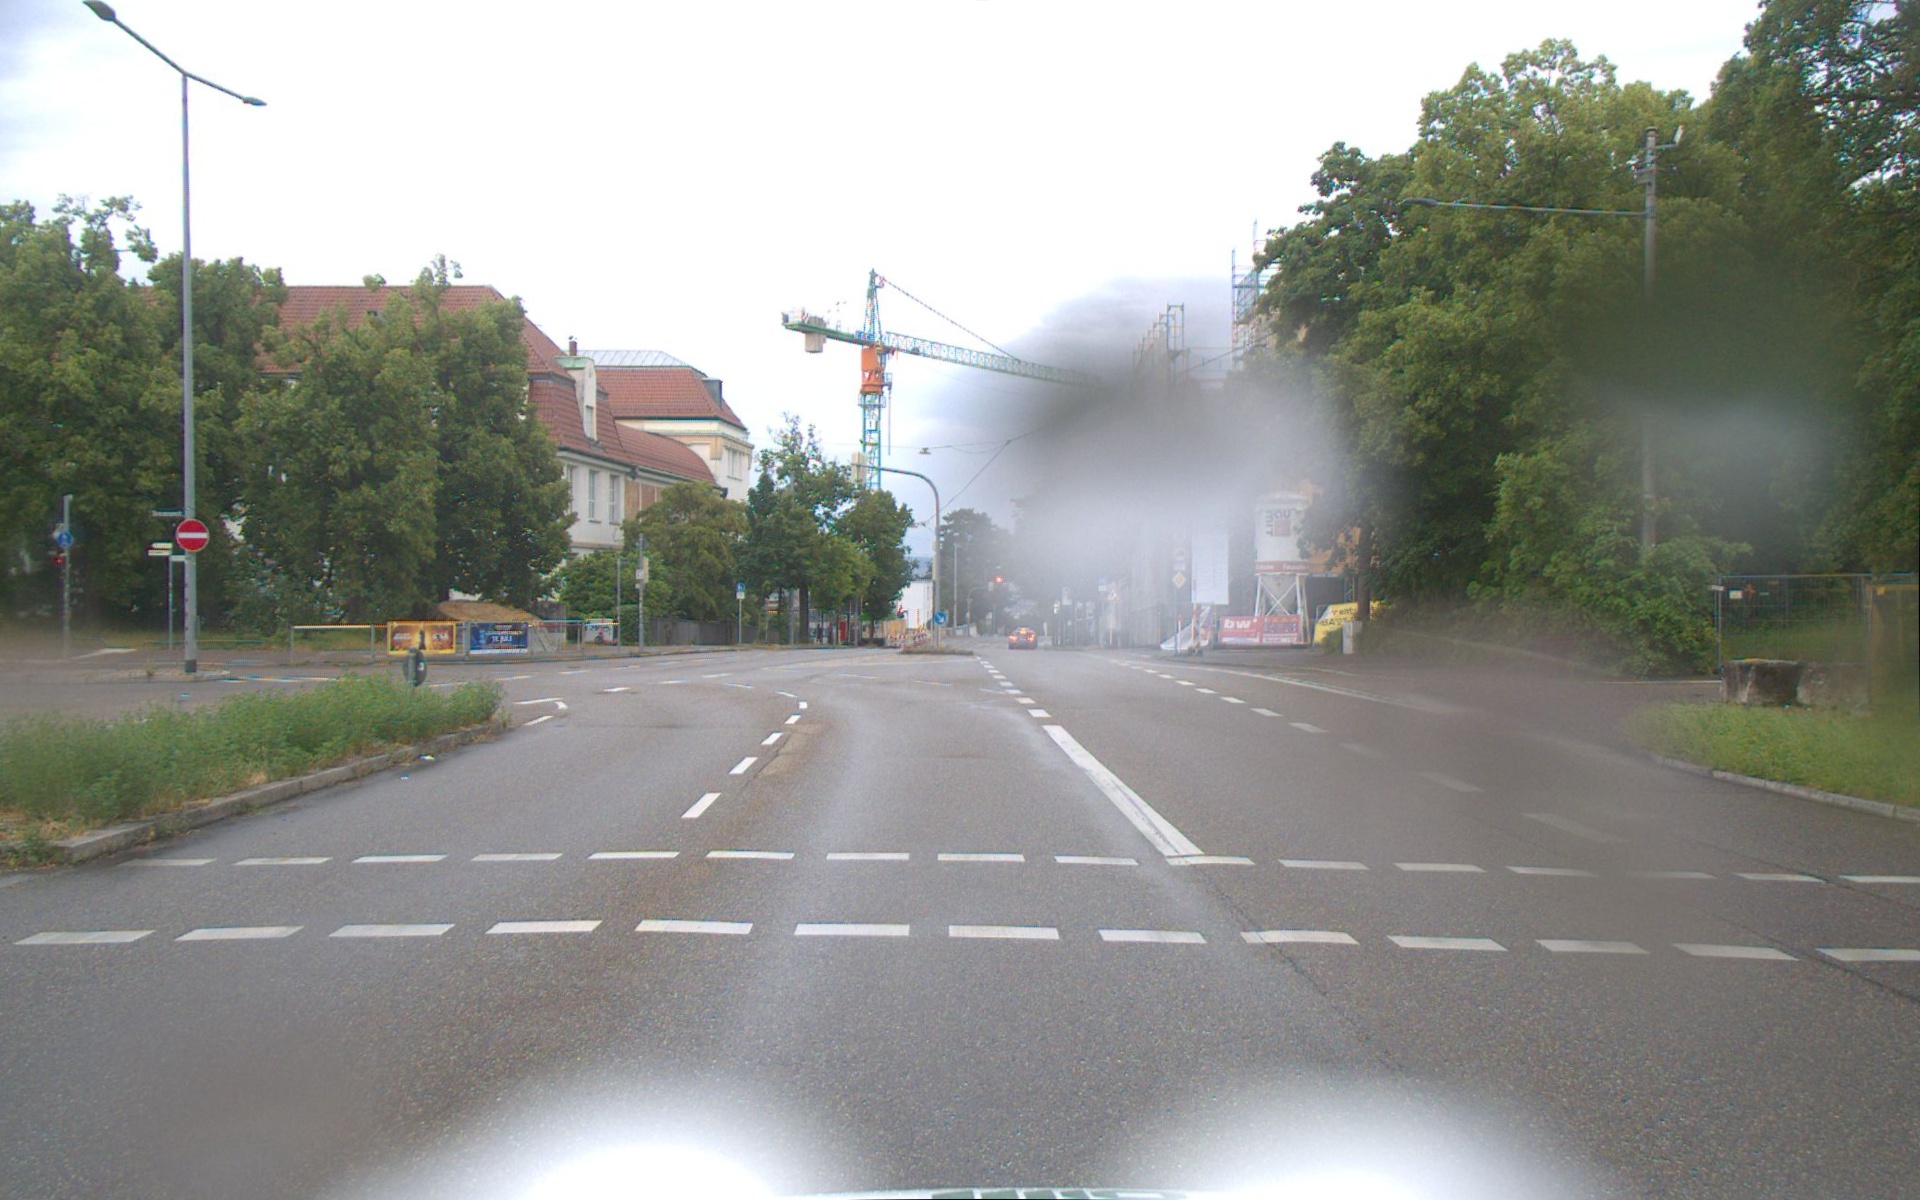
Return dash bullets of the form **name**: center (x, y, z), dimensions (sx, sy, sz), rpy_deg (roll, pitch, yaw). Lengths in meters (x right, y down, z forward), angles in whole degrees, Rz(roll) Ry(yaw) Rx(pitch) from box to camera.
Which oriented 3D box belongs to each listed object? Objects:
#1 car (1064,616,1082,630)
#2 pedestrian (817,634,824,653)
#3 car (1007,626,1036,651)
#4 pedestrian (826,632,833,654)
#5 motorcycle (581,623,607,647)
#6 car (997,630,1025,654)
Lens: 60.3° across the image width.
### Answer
- **car**: center (14.982, 3.097, 219.510), dimensions (1.951, 1.780, 4.003), rpy_deg (-1, 0, 10)
- **pedestrian**: center (-10.467, 3.284, 123.854), dimensions (0.465, 1.421, 0.411), rpy_deg (-1, 0, -1)
- **car**: center (4.629, 2.875, 125.051), dimensions (1.953, 1.780, 3.999), rpy_deg (-1, 0, -1)
- **pedestrian**: center (-9.742, 3.210, 123.807), dimensions (0.484, 1.674, 0.533), rpy_deg (1, -1, -7)
- **motorcycle**: center (-14.270, 1.373, 64.507), dimensions (0.832, 0.893, 0.877), rpy_deg (1, 0, -1)
- **car**: center (4.047, 3.307, 131.962), dimensions (1.953, 1.780, 3.999), rpy_deg (-1, 0, -1)
